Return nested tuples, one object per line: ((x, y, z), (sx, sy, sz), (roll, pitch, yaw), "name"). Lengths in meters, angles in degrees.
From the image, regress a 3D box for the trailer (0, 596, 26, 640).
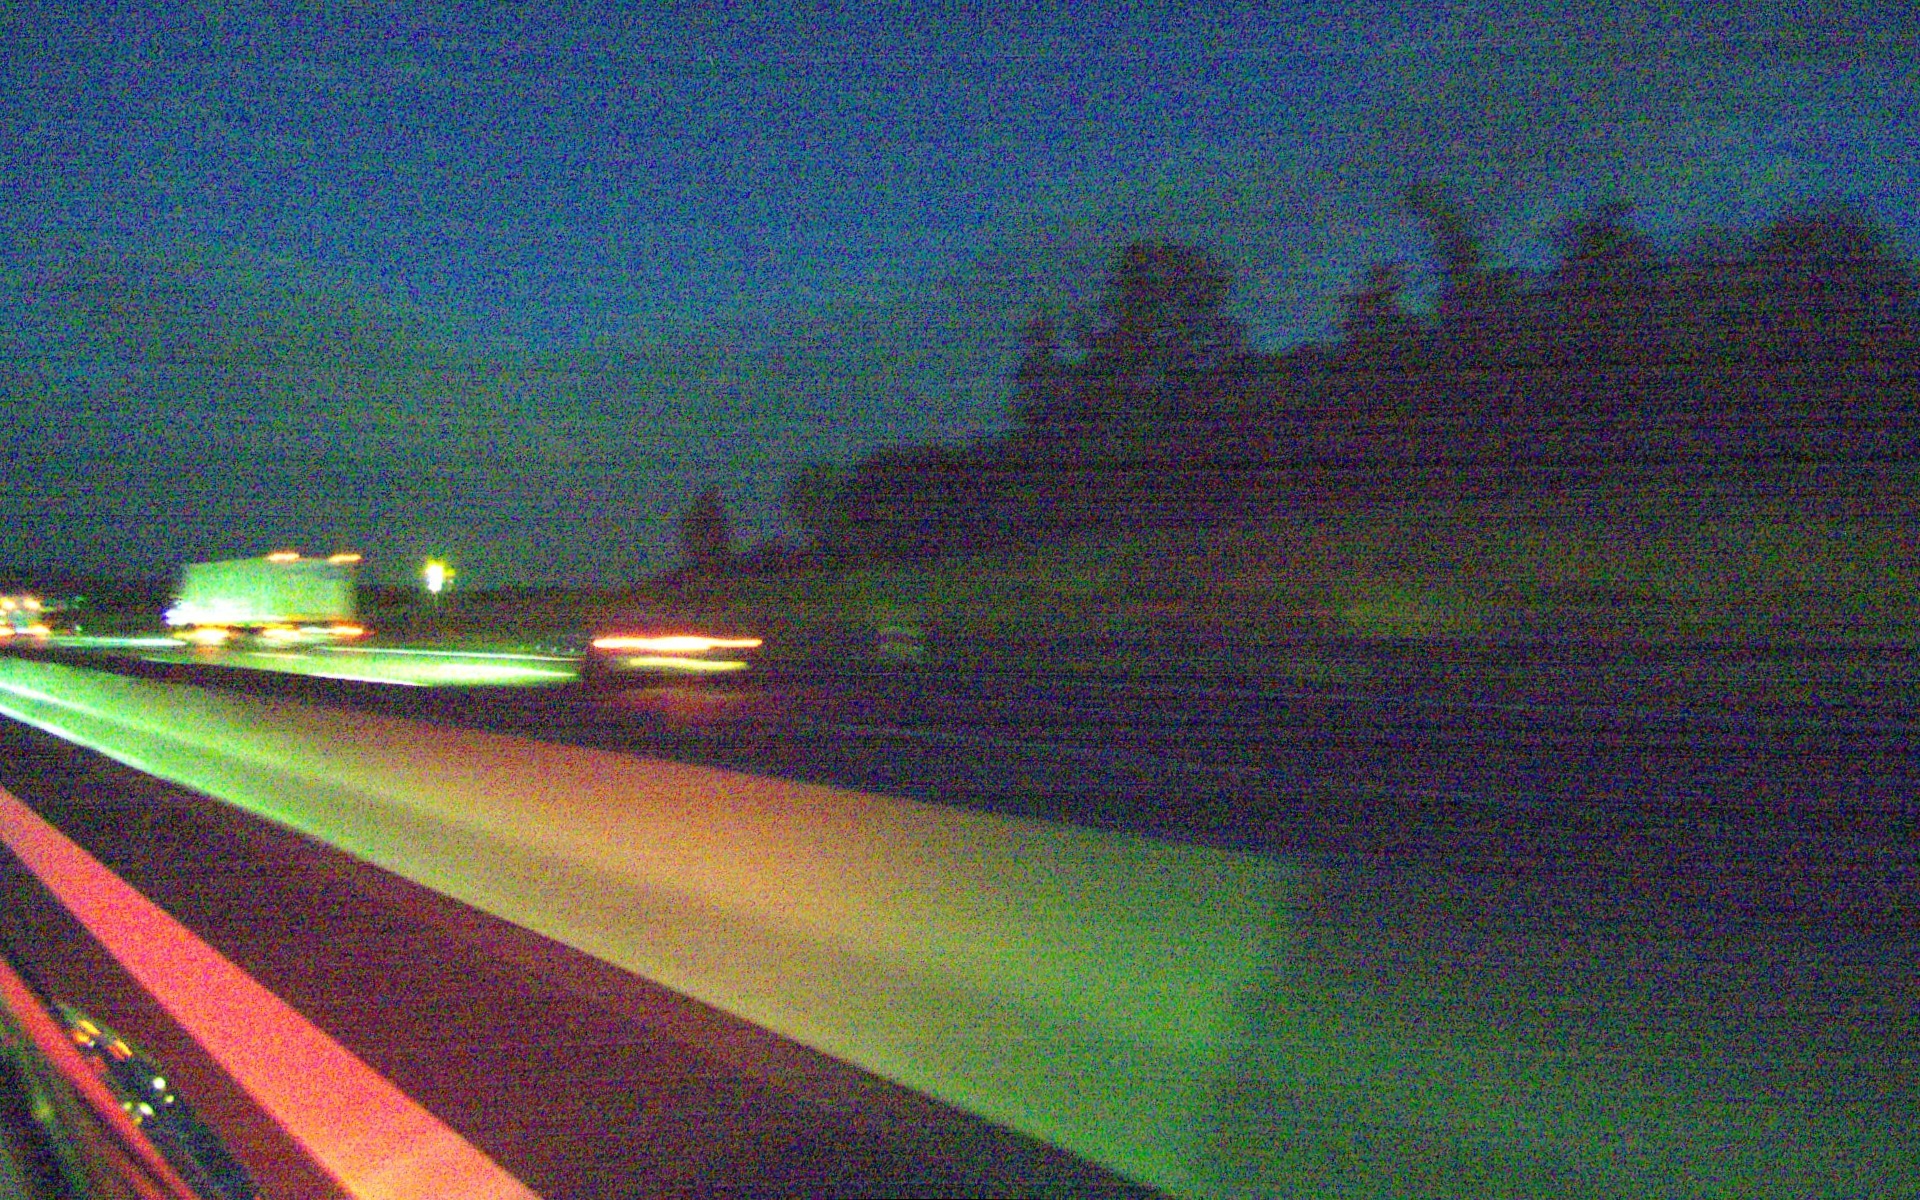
((-84.634, 1.572, 88.826), (7.223, 3.717, 3.027), (-1, 0, 40), "trailer")

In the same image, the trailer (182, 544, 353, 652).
((-32.642, -0.015, 47.294), (13.967, 4.467, 2.824), (-1, 0, 40), "trailer")

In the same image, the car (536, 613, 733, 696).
((-6.525, 1.012, 20.097), (4.130, 1.464, 1.795), (-1, -1, 40), "car")

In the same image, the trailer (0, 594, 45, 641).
((-79.814, 1.486, 84.778), (11.676, 3.717, 3.027), (-1, 0, 40), "trailer")

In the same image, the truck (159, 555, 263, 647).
((-38.810, 0.087, 52.389), (6.390, 4.467, 2.824), (-1, 0, 39), "truck")
